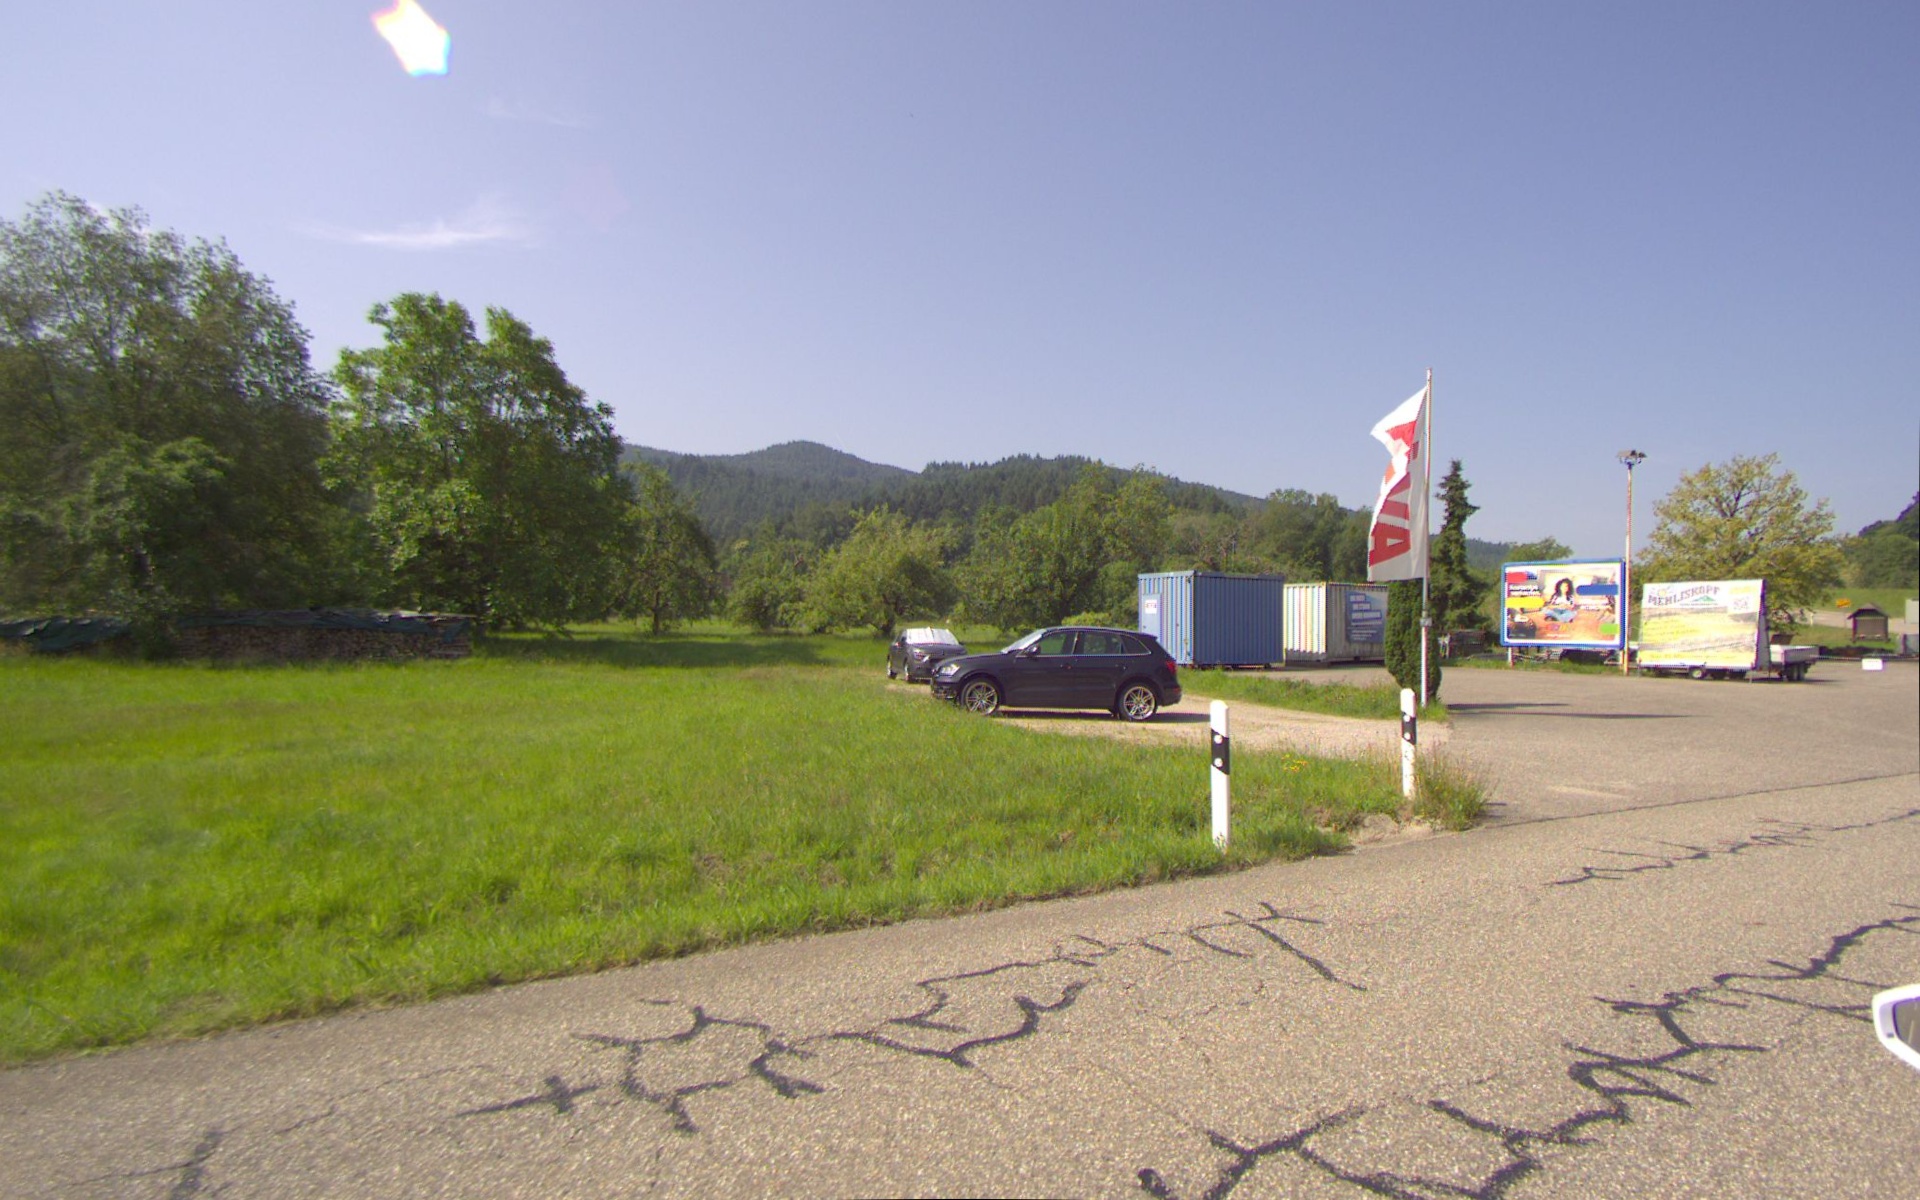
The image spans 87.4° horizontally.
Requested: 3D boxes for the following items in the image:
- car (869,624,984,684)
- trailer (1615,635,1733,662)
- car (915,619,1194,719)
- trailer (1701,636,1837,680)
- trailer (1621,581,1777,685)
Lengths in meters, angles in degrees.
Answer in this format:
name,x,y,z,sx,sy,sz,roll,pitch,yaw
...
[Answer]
name,x,y,z,sx,sy,sz,roll,pitch,yaw
car,-1.013,1.427,27.745,1.890,1.504,3.911,1,-1,-23
trailer,31.833,2.153,44.859,1.848,0.952,3.910,3,-1,-32
car,1.607,1.207,18.210,4.813,1.670,1.836,1,-1,-3
trailer,26.006,1.843,32.227,5.492,1.243,1.980,2,-1,-36
trailer,22.145,0.940,30.183,1.867,2.950,3.366,2,0,-37
